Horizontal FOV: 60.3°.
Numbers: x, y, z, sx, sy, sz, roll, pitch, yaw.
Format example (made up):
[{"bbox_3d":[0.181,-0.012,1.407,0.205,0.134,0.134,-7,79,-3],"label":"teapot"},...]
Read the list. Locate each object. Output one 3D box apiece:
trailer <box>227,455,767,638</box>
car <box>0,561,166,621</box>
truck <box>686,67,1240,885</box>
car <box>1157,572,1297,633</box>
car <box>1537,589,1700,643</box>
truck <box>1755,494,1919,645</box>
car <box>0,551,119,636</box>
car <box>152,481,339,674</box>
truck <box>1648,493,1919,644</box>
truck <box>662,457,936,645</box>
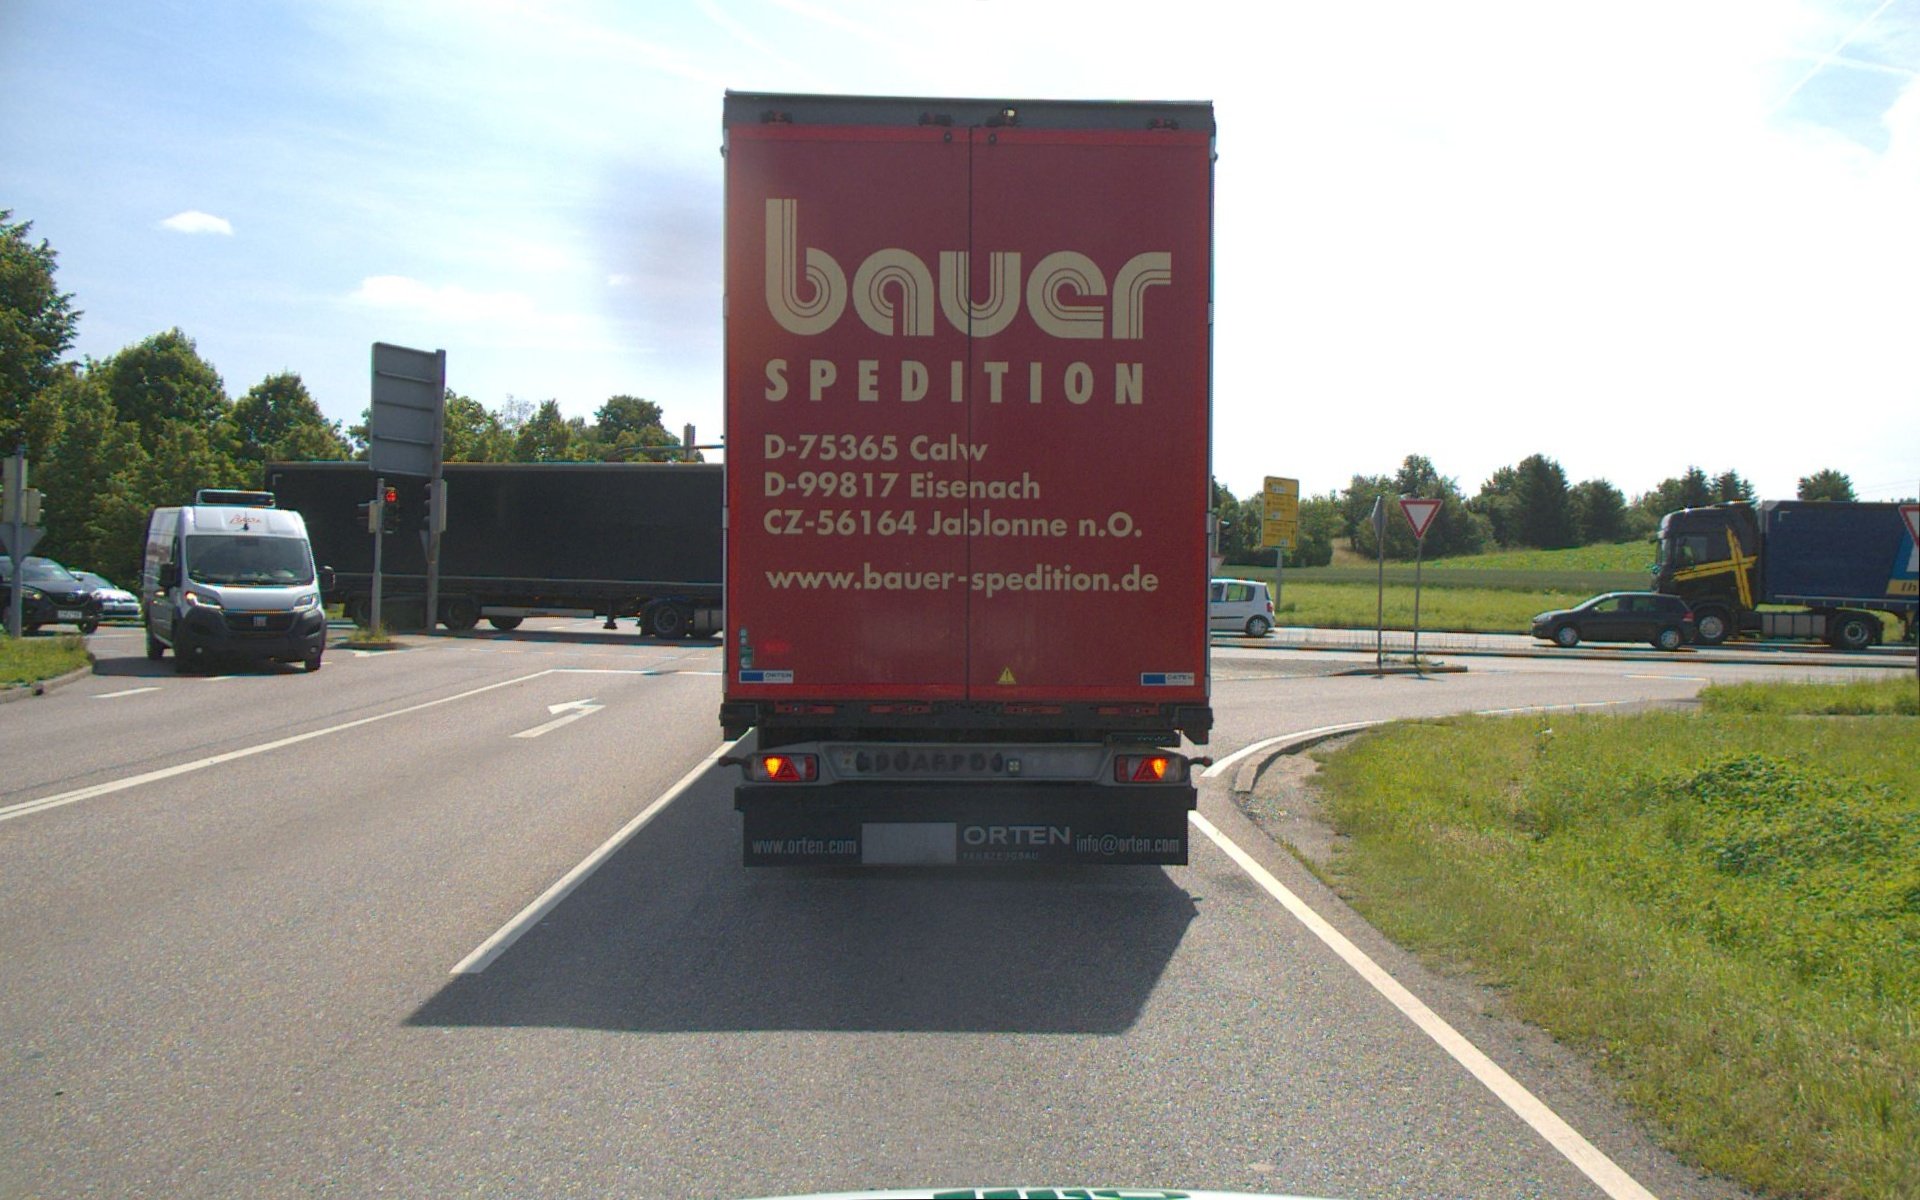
[{"bbox_3d":[-11.500,-1.401,40.701,13.396,4.132,2.800,1,1,17],"label":"trailer"},{"bbox_3d":[-23.916,-0.242,44.854,4.157,1.486,1.811,2,0,17],"label":"car"},{"bbox_3d":[-0.127,-0.706,16.467,2.679,3.993,16.622,1,1,-1],"label":"truck"},{"bbox_3d":[7.579,0.074,47.147,3.747,1.662,1.761,1,-1,1],"label":"car"},{"bbox_3d":[17.487,0.418,44.112,3.903,1.333,1.767,1,-1,18],"label":"car"},{"bbox_3d":[29.551,-0.755,44.985,13.989,4.049,3.028,2,1,21],"label":"truck"},{"bbox_3d":[-20.575,-0.137,36.794,4.033,1.780,1.863,1,-1,39],"label":"car"},{"bbox_3d":[-11.467,-0.337,26.280,2.095,2.701,5.927,1,0,-29],"label":"car"},{"bbox_3d":[23.503,-0.943,47.273,6.785,4.063,3.029,1,1,18],"label":"truck"},{"bbox_3d":[-3.701,-1.173,38.579,5.701,4.132,2.801,1,1,13],"label":"truck"}]
